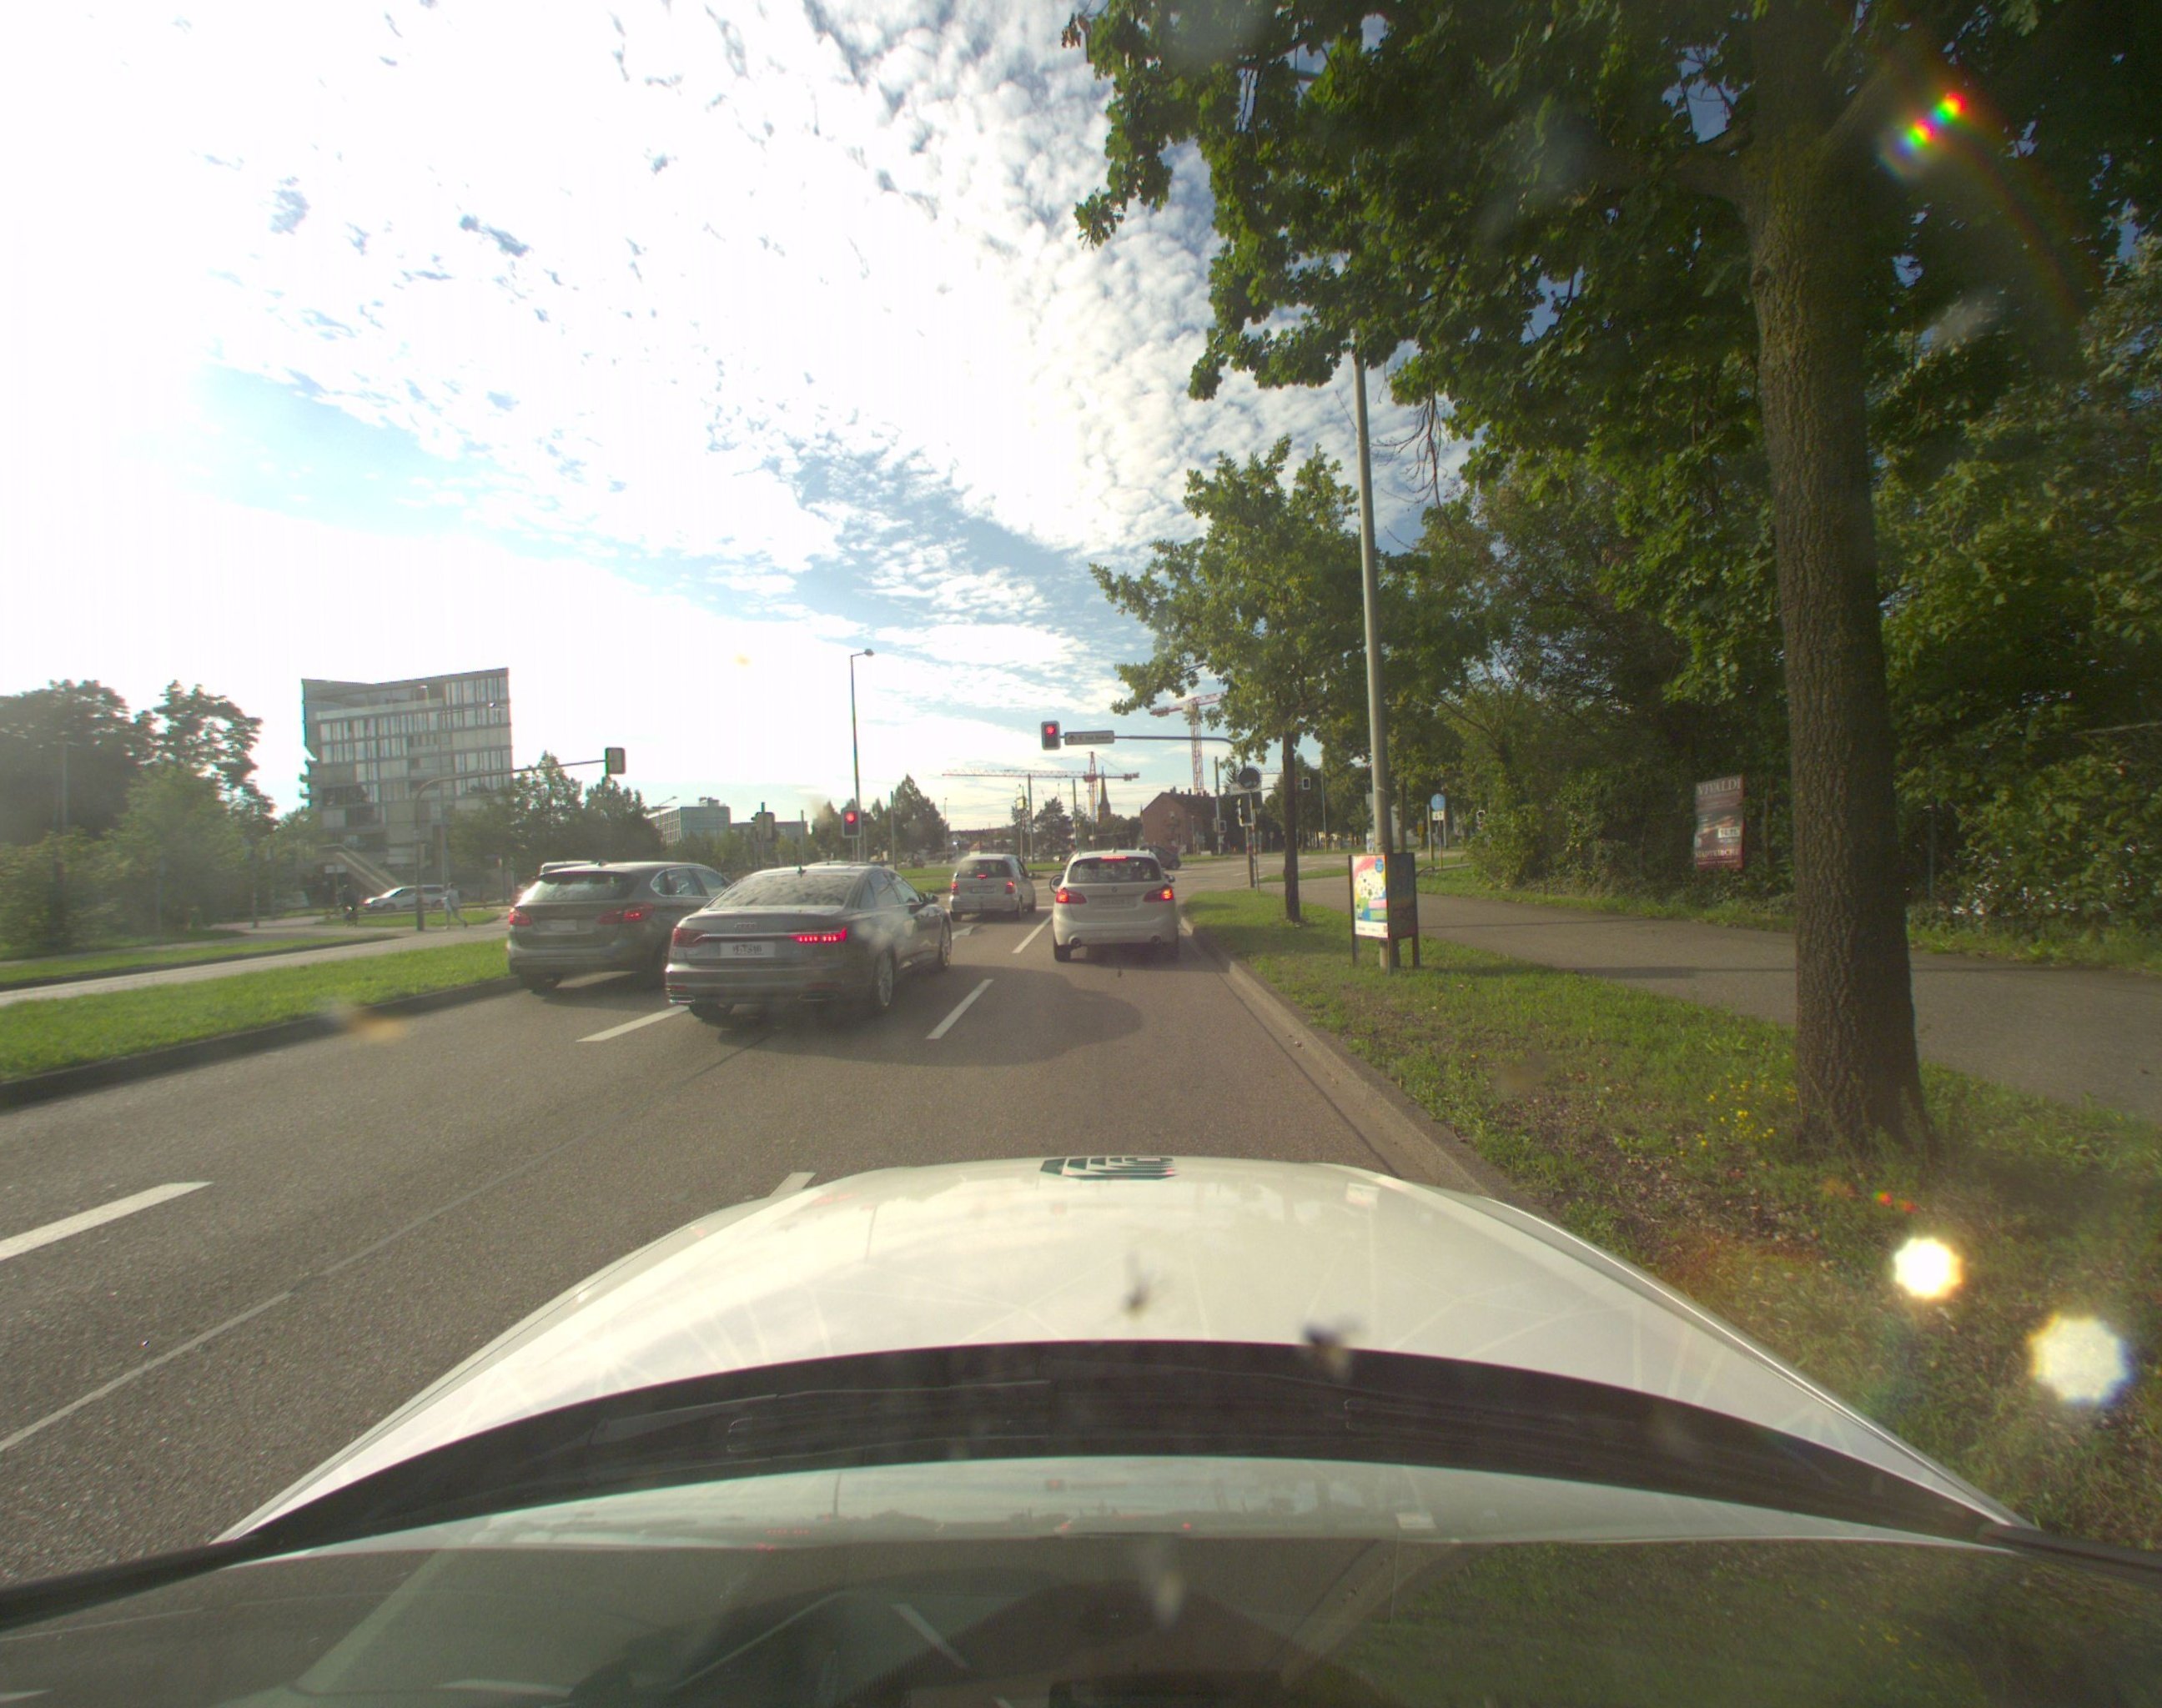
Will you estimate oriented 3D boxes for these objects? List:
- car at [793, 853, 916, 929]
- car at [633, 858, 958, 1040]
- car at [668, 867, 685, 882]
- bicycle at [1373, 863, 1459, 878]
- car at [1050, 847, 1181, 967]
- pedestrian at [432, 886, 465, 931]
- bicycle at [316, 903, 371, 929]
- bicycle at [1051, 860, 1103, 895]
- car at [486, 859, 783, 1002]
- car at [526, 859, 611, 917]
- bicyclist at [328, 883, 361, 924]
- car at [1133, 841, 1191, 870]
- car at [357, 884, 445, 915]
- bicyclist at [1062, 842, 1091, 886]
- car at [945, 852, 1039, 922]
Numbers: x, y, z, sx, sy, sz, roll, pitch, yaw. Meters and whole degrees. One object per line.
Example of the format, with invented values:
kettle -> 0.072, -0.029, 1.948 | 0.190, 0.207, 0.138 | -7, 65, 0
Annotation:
car -> -5.291, 0.801, 19.556 | 1.714, 1.564, 3.880 | -1, 0, 2
car -> -2.759, 0.816, 9.170 | 1.883, 1.483, 4.614 | -2, 0, 2
car -> -47.877, 2.429, 96.430 | 1.600, 1.415, 3.638 | -5, -2, -25
bicycle -> 10.667, 0.510, 26.070 | 1.407, 0.385, 2.568 | -3, 0, -9
car -> 0.526, 0.709, 12.960 | 1.723, 1.558, 4.059 | -2, 0, 2
pedestrian -> -22.815, 1.966, 29.390 | 0.653, 1.569, 0.615 | -3, -1, -3
bicycle -> -31.199, 2.616, 34.456 | 1.670, 0.967, 0.643 | -3, -2, -4
bicycle -> -0.151, 0.831, 29.396 | 1.728, 1.163, 0.652 | -3, -1, -15
car -> -5.823, 0.887, 11.278 | 1.722, 1.558, 4.021 | -2, 0, 2
car -> -22.995, 1.489, 36.809 | 2.001, 2.235, 5.882 | -4, 0, -21
bicyclist -> -31.164, 2.077, 34.457 | 0.786, 1.668, 0.549 | -3, -1, -3
car -> 4.874, 0.096, 49.209 | 3.182, 1.574, 1.572 | -2, 1, -5
car -> -46.088, 3.064, 55.274 | 1.974, 1.747, 4.156 | -3, 0, 33
bicyclist -> -0.169, 0.349, 29.405 | 0.850, 1.526, 0.737 | -3, 0, -15
car -> -2.122, 0.740, 20.521 | 1.722, 1.558, 4.060 | -1, 0, 2
